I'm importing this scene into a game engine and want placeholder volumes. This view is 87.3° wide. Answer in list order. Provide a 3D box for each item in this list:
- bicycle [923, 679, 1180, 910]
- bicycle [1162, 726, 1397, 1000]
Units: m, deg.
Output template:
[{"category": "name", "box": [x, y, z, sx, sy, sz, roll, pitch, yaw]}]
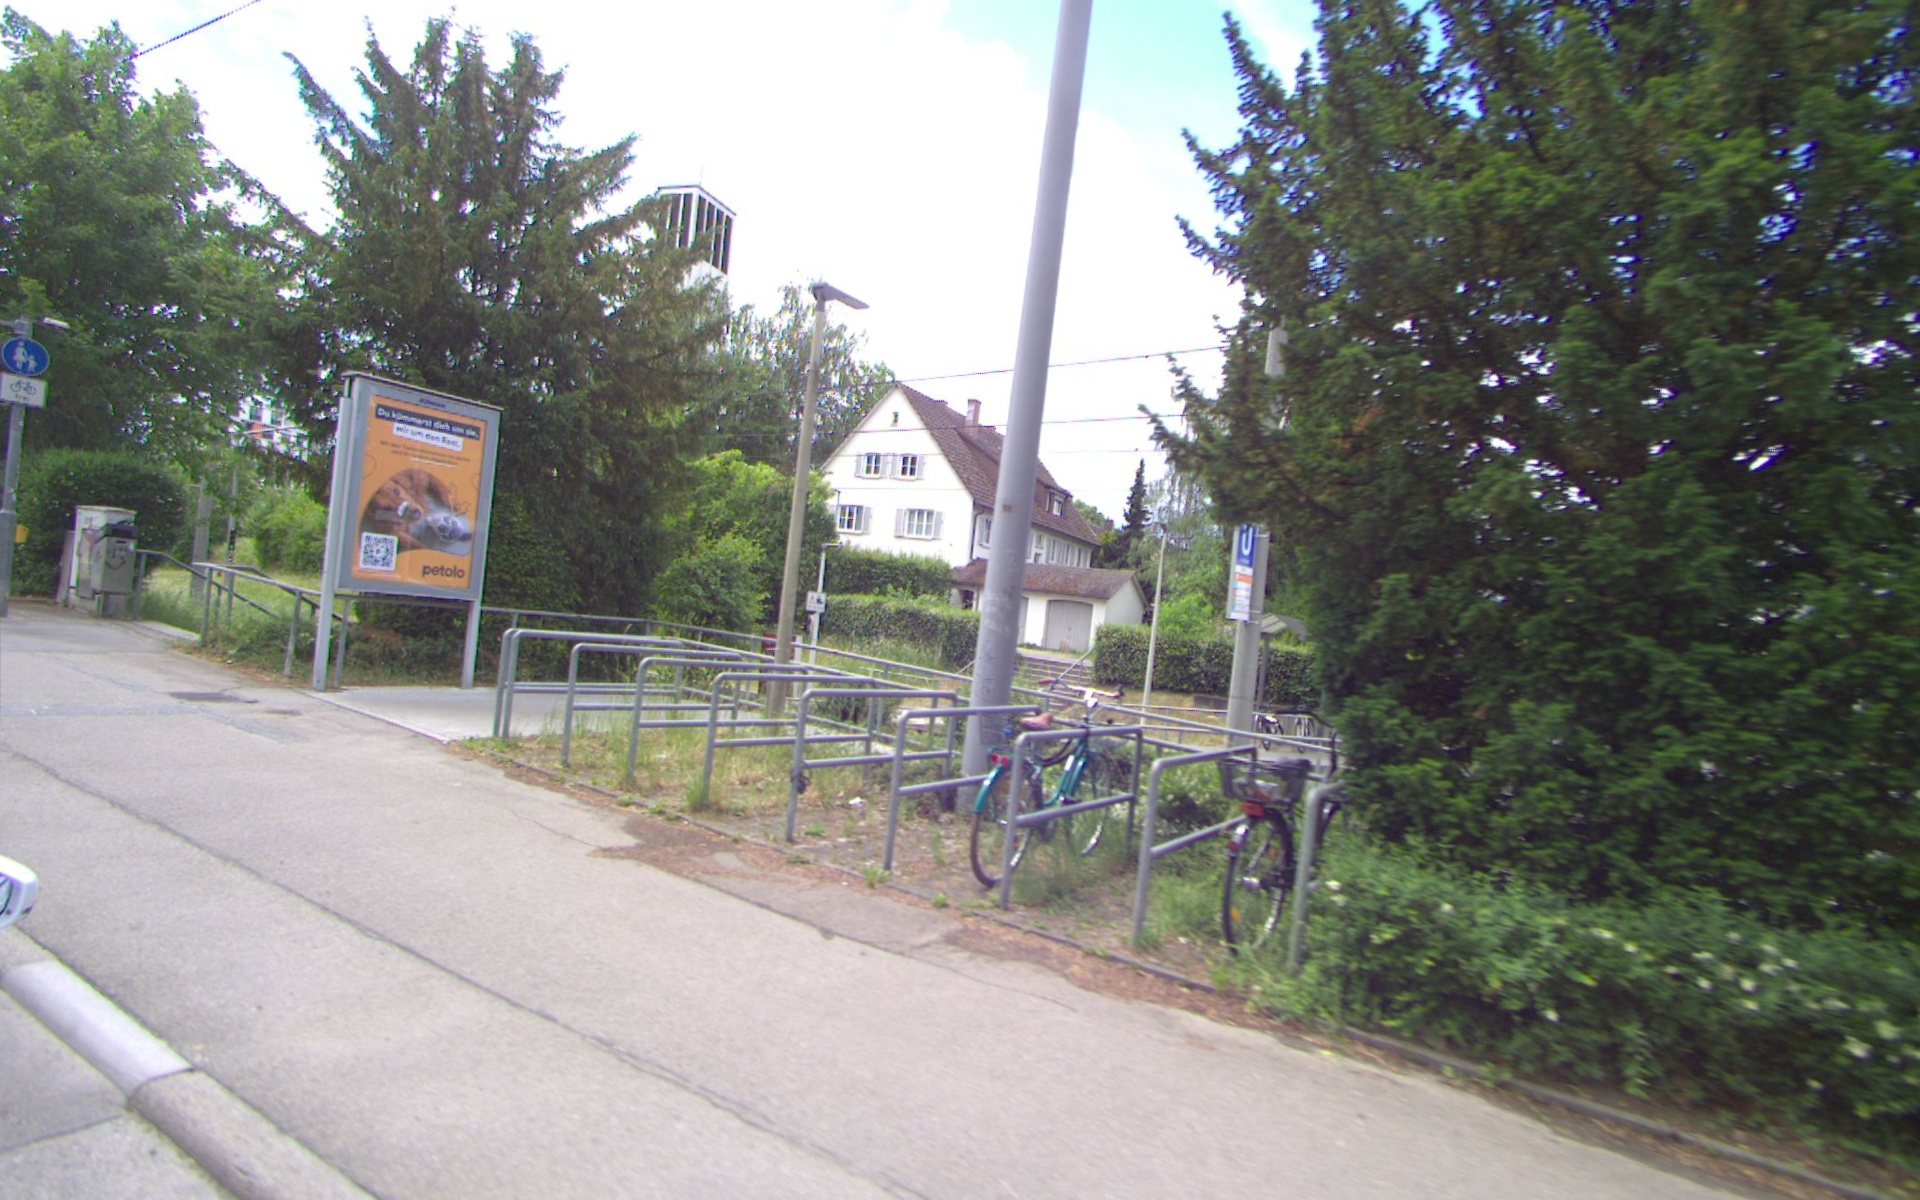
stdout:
[{"category": "bicycle", "box": [0.643, 1.053, 6.056, 0.538, 1.094, 2.090, 6, 0, 33]}, {"category": "bicycle", "box": [1.751, 1.244, 5.238, 0.550, 1.059, 2.093, 6, -3, 33]}]
